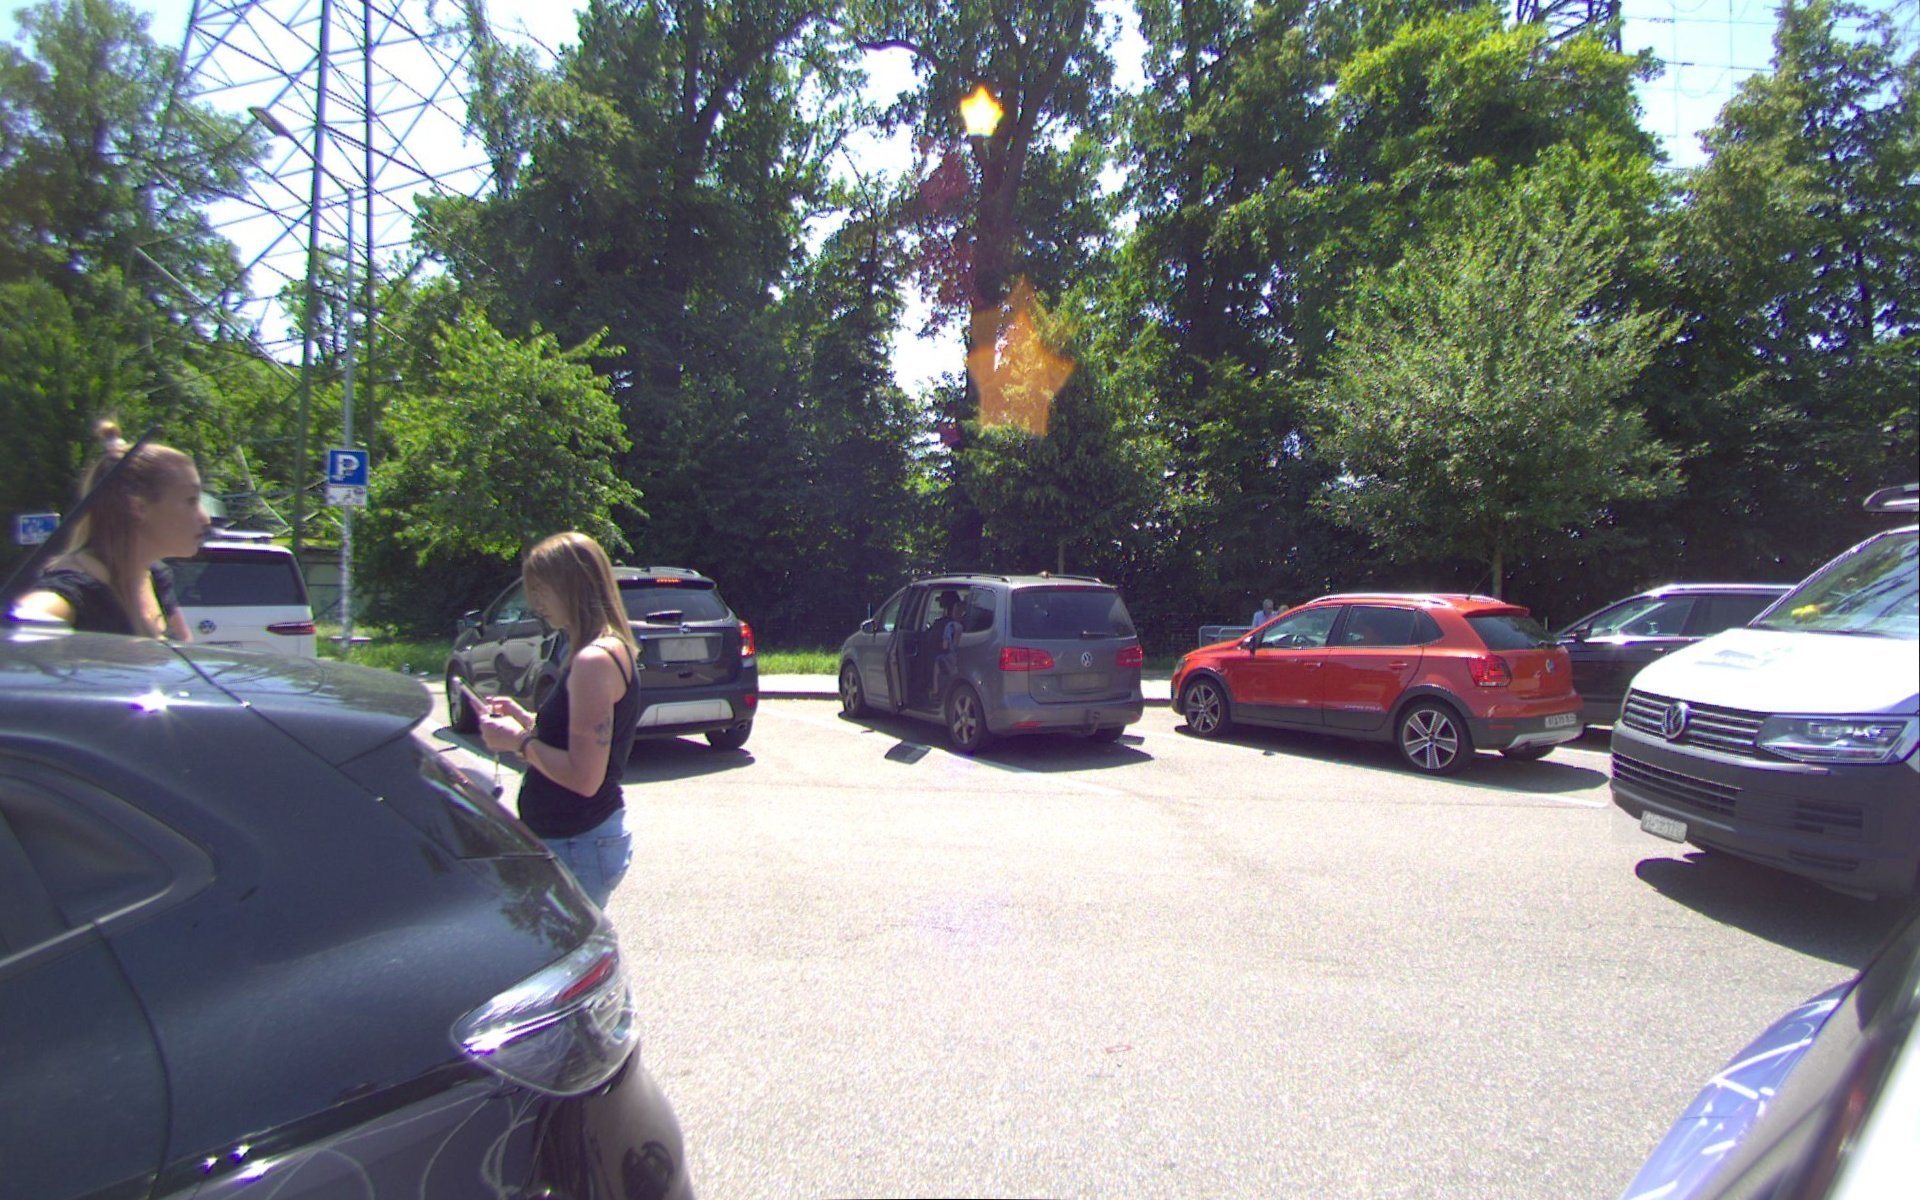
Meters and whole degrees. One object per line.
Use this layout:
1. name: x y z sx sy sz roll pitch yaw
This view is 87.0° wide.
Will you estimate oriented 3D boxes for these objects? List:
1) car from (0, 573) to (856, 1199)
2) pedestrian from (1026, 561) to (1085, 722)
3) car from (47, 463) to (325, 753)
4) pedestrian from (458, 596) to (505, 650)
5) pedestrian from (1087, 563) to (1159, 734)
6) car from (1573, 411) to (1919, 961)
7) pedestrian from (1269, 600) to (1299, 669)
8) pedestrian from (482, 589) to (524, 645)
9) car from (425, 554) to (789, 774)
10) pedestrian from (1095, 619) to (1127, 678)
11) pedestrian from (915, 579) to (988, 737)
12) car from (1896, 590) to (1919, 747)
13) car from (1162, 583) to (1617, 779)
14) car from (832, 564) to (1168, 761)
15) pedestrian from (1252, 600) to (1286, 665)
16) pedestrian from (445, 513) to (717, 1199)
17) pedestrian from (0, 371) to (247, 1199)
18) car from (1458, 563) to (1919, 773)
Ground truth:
1. car: -2.033 0.723 0.782 1.776 1.476 3.628 0 0 44
2. pedestrian: 1.066 0.444 11.295 0.500 1.744 0.438 0 0 -24
3. car: -8.459 0.059 10.855 1.897 2.400 4.963 1 -1 -43
4. pedestrian: -10.834 0.509 22.908 0.785 1.178 0.696 0 0 39
5. pedestrian: 1.714 0.492 10.649 0.576 1.744 0.483 0 0 -20
6. car: 6.123 0.351 4.656 5.336 2.131 1.842 1 1 4
7. pedestrian: 5.768 0.608 18.012 0.348 1.207 0.367 0 0 -20
8. pedestrian: -11.046 0.402 24.454 0.539 1.318 0.758 0 0 37
9. car: -3.543 0.470 9.679 1.807 1.637 4.159 1 0 -42
10. pedestrian: 2.361 0.749 15.810 0.494 0.890 0.512 0 0 10
11. pedestrian: -0.087 0.549 10.025 0.511 1.516 0.560 0 0 -30
12. car: 10.711 0.663 8.614 1.813 1.473 3.776 1 0 -36
13. car: 3.861 0.610 9.675 1.588 1.485 3.751 1 0 -34
14. car: 0.201 0.510 10.540 1.670 1.637 3.912 0 0 -30
15. pedestrian: 5.791 0.600 18.957 0.433 1.207 0.414 0 0 -30
16. pedestrian: -0.972 0.614 2.593 0.477 1.614 0.502 1 -1 -44
17. pedestrian: -2.026 0.495 2.403 0.478 1.883 0.913 1 -1 -33
18. car: 7.109 0.530 9.691 1.679 1.637 3.863 1 0 -40
